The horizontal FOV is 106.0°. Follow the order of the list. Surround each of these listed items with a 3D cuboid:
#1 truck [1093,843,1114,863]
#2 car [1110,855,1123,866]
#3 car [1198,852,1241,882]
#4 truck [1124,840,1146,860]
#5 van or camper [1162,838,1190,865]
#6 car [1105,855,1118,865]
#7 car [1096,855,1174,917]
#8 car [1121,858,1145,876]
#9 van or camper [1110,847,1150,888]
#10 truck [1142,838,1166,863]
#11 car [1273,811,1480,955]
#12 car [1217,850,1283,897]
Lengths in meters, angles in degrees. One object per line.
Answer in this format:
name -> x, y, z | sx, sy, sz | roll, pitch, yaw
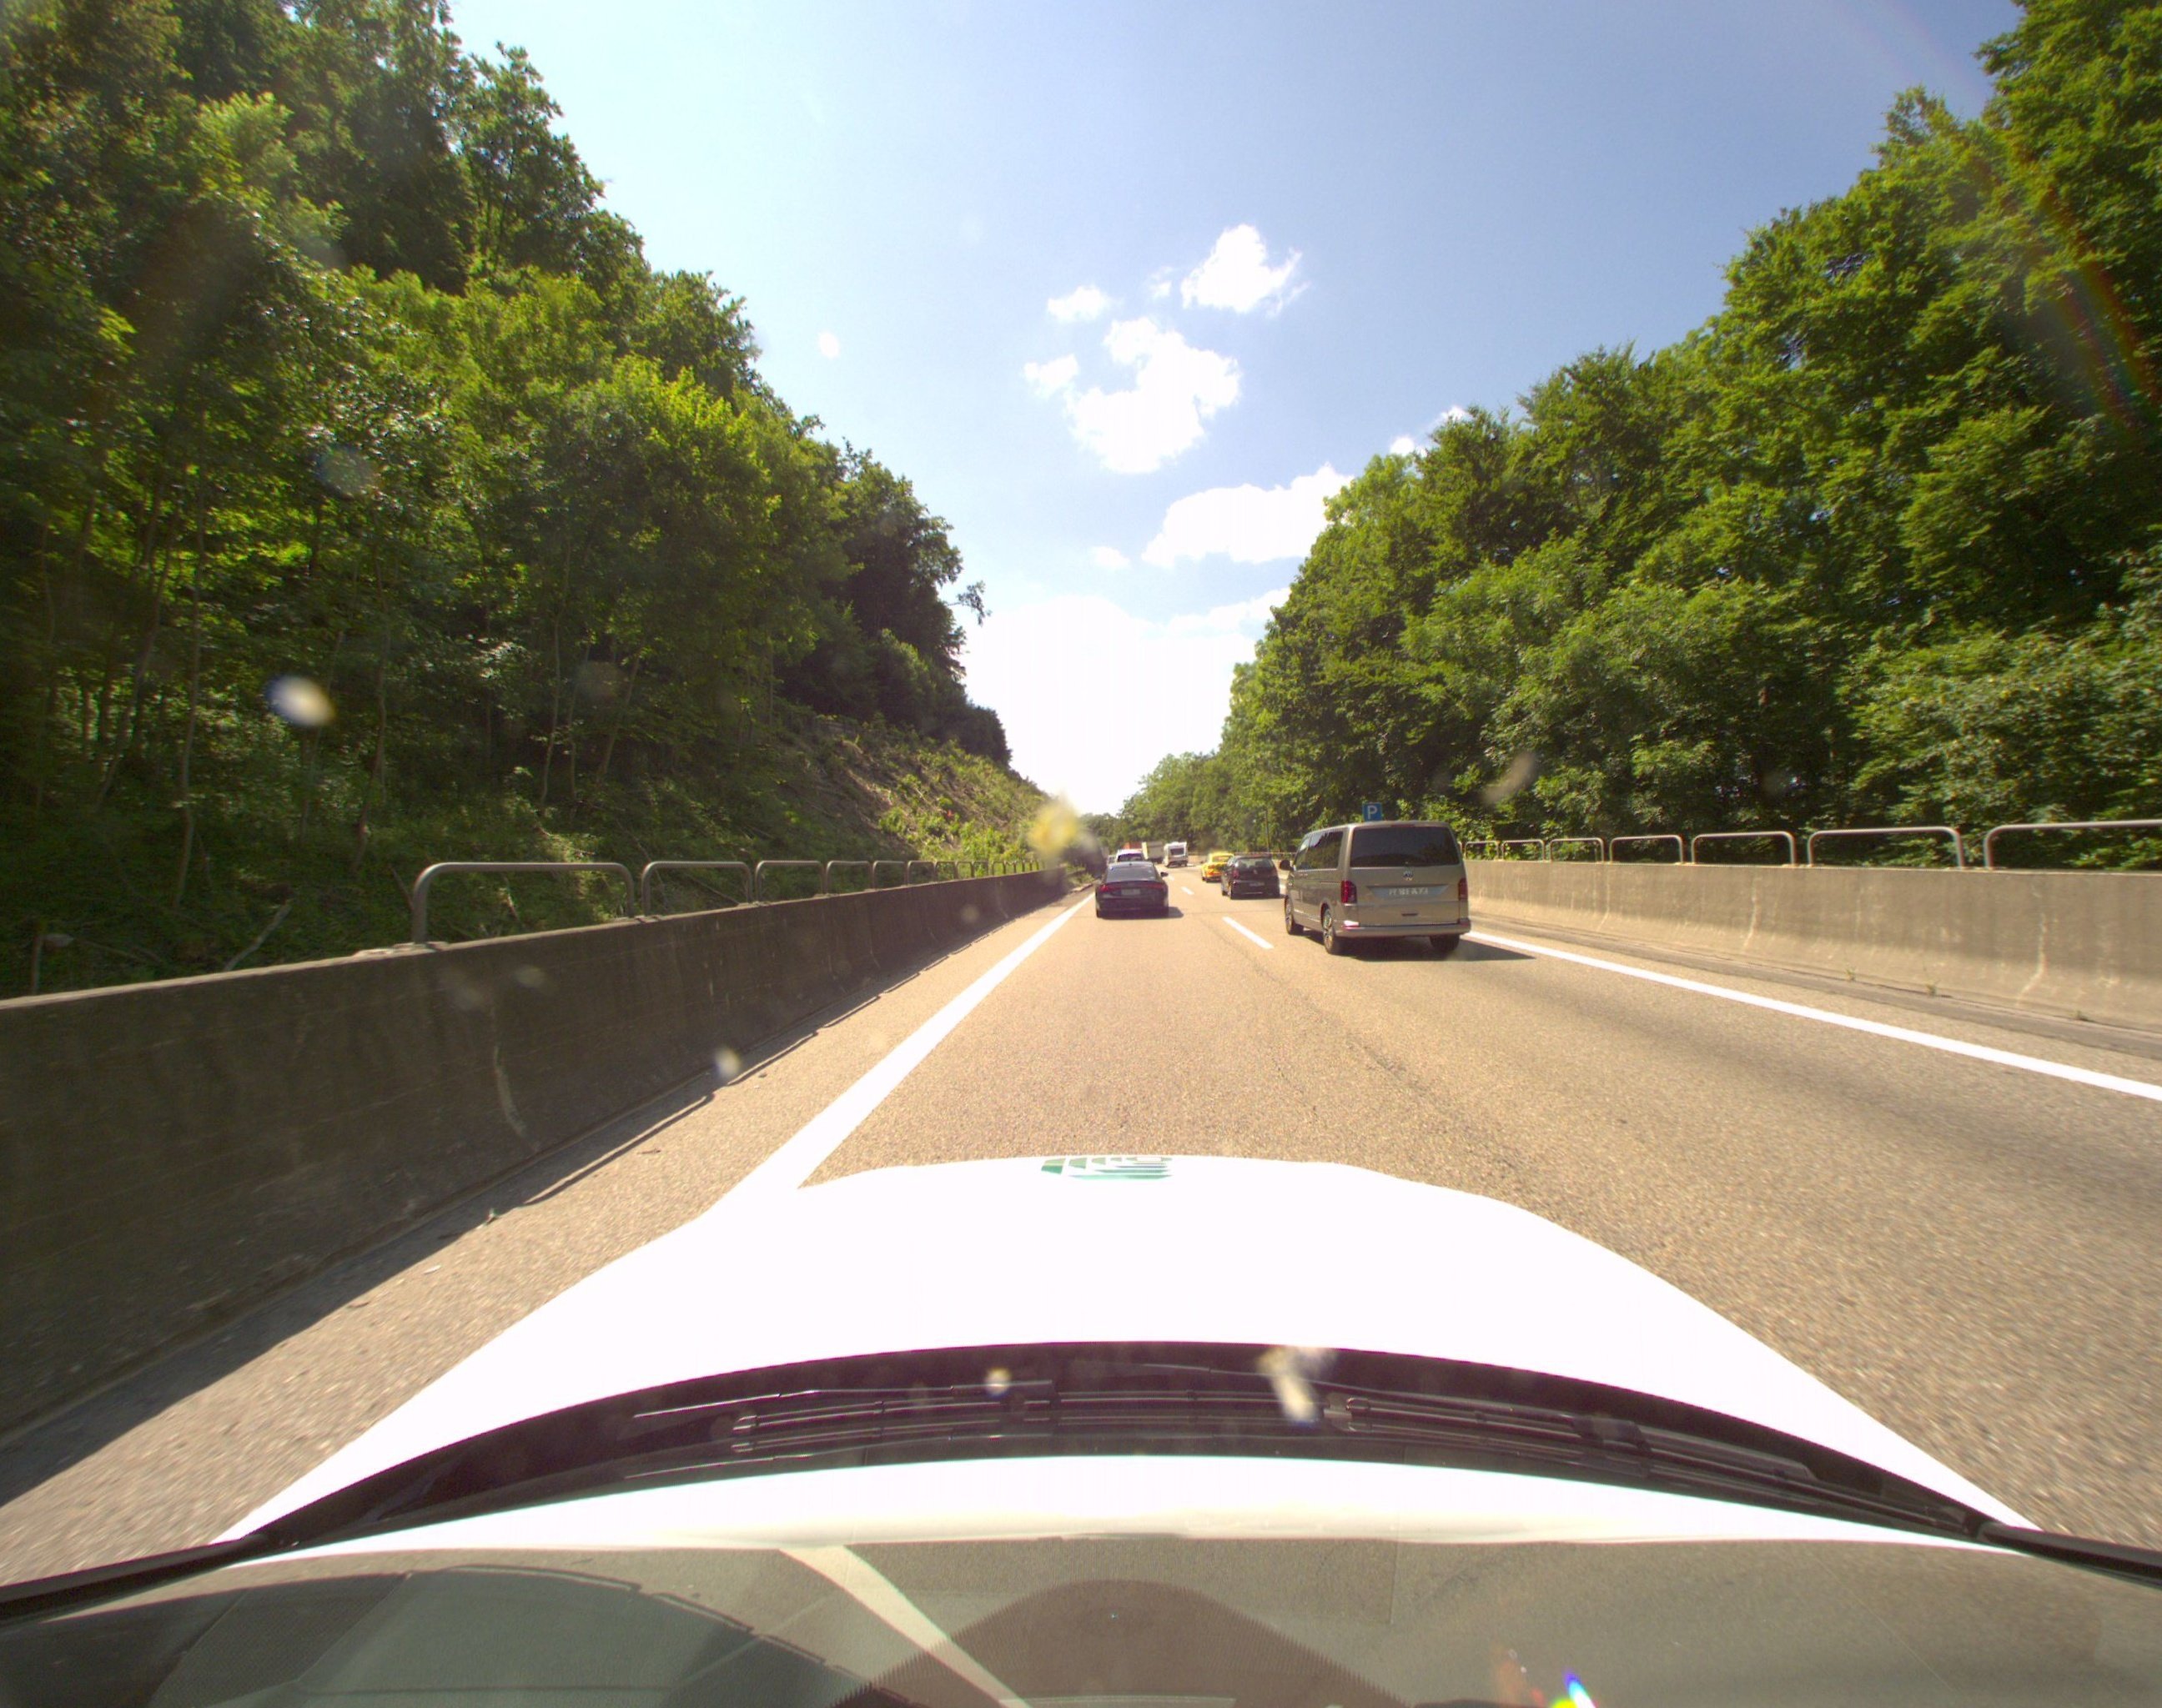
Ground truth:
truck -> 5.098, -0.120, 186.815 | 3.706, 4.504, 7.706 | 0, -1, -7
car -> 5.591, 1.016, 128.642 | 1.745, 1.571, 3.770 | -2, 0, 0
car -> 7.098, 0.659, 42.126 | 1.800, 1.478, 4.086 | -1, 0, 4
truck -> 9.683, -0.601, 146.118 | 3.155, 3.468, 8.215 | -1, -1, -2
van or camper -> 10.443, -0.249, 89.735 | 2.593, 2.855, 6.339 | -1, 0, 2
car -> 5.265, 1.064, 140.722 | 1.749, 1.571, 3.763 | -2, 0, -6
car -> 1.407, 0.810, 22.292 | 1.897, 1.489, 4.381 | -1, 0, 2
car -> 4.742, 1.142, 74.843 | 1.889, 1.584, 3.769 | -1, -1, -1
van or camper -> 2.493, 0.649, 40.757 | 1.845, 1.942, 4.170 | -1, -1, 5
truck -> 11.165, -0.522, 124.890 | 2.915, 3.687, 7.723 | -1, -1, 0
car -> 4.590, 0.416, 13.489 | 1.932, 1.931, 4.698 | -1, -1, 3
car -> 5.711, 0.643, 27.953 | 1.677, 1.458, 4.004 | -1, 0, 4
